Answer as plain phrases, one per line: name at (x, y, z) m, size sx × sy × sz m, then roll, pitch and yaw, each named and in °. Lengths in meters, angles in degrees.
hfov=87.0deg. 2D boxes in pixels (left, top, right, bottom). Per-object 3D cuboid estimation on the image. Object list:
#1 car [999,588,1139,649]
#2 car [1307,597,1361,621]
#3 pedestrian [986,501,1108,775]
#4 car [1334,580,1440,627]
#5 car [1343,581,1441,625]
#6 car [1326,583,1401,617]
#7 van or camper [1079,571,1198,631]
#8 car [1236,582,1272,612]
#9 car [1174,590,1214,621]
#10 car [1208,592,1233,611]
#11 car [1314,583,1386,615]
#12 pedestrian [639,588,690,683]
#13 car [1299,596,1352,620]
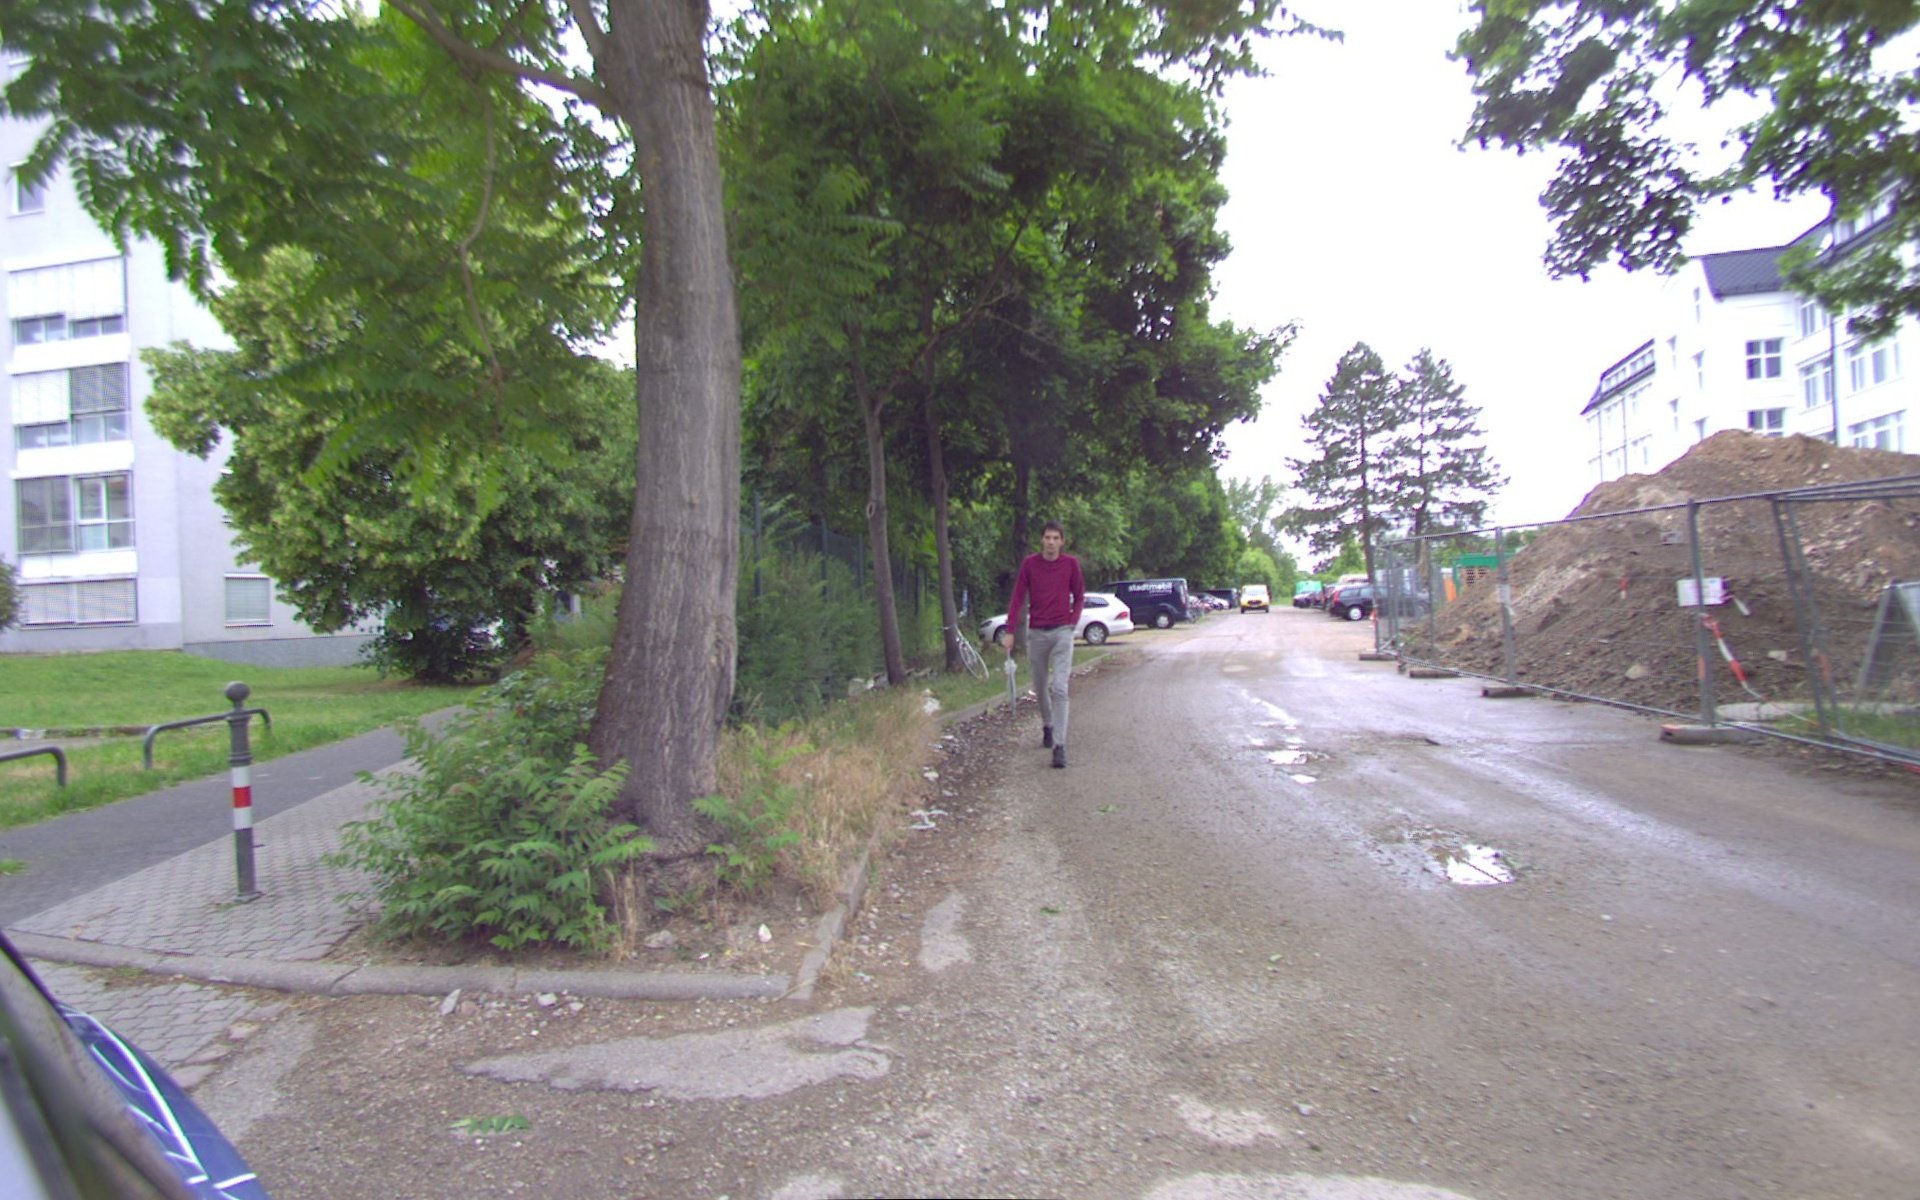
car at (3.099, 0.521, 29.050) m, size 3.839 × 1.586 × 1.749 m, roll -2°, pitch 0°, yaw 7°
car at (30.634, 0.696, 83.021) m, size 3.964 × 1.851 × 1.990 m, roll -2°, pitch 0°, yaw 16°
pedestrian at (0.744, 0.297, 8.354) m, size 0.787 × 2.080 × 1.196 m, roll -2°, pitch 0°, yaw 14°
car at (18.060, 0.171, 42.819) m, size 3.978 × 1.851 × 1.983 m, roll -2°, pitch 0°, yaw 26°
car at (19.604, 0.129, 45.929) m, size 3.978 × 1.851 × 1.983 m, roll -2°, pitch 0°, yaw 26°
car at (23.888, -0.005, 59.917) m, size 3.978 × 1.851 × 1.983 m, roll -2°, pitch 0°, yaw 26°
van or camper at (7.258, 0.063, 41.074) m, size 4.465 × 2.275 × 1.988 m, roll -2°, pitch 0°, yaw 19°
car at (21.192, -0.216, 73.158) m, size 2.103 × 2.029 × 3.986 m, roll -2°, pitch 0°, yaw 11°
car at (13.011, 0.297, 56.435) m, size 1.801 × 1.608 × 3.989 m, roll -2°, pitch 0°, yaw 9°
car at (23.498, 0.150, 91.382) m, size 1.980 × 1.608 × 3.984 m, roll -2°, pitch 0°, yaw 13°
car at (24.023, -0.079, 62.404) m, size 3.978 × 1.851 × 1.983 m, roll -2°, pitch 0°, yaw 26°
pedestrian at (-5.628, 0.669, 19.288) m, size 0.677 × 1.762 × 0.616 m, roll -2°, pitch -1°, yaw 22°
car at (30.958, 0.682, 85.811) m, size 3.964 × 1.851 × 1.990 m, roll -2°, pitch 0°, yaw 16°
